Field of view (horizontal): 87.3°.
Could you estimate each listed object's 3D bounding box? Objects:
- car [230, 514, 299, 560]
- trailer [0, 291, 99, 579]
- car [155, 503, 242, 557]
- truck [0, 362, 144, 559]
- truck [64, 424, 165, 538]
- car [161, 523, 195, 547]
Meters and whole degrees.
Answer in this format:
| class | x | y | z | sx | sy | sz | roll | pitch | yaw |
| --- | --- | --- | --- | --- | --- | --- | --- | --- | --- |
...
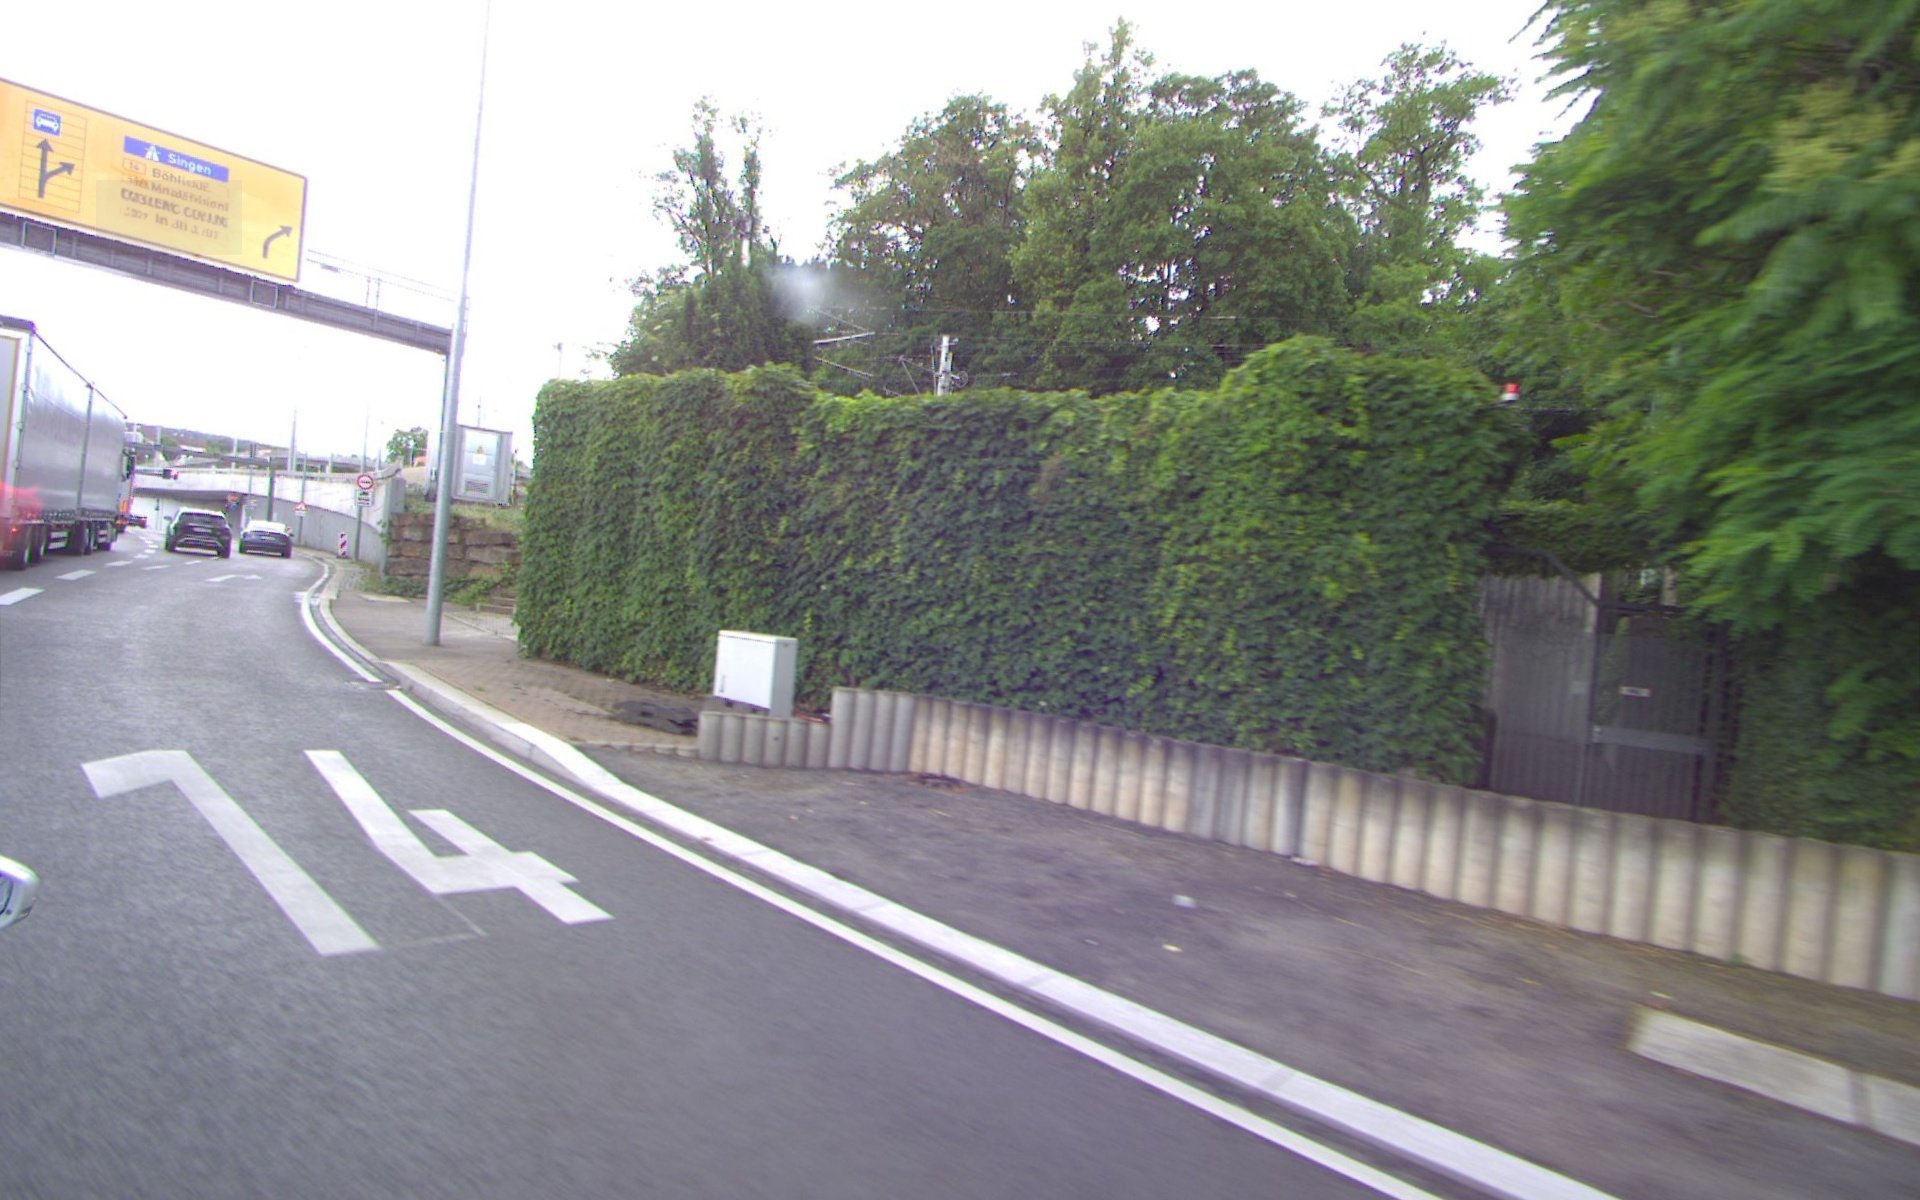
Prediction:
| class | x | y | z | sx | sy | sz | roll | pitch | yaw |
| --- | --- | --- | --- | --- | --- | --- | --- | --- | --- |
| car | -30.171 | -2.747 | 43.618 | 1.886 | 1.645 | 3.954 | 8 | -2 | -41 |
| trailer | -18.657 | -2.917 | 18.101 | 3.705 | 4.191 | 10.873 | 7 | -1 | -37 |
| car | -27.053 | -2.469 | 35.707 | 1.888 | 1.537 | 3.951 | 8 | -3 | -44 |
| truck | -24.930 | -3.571 | 26.966 | 3.704 | 4.191 | 10.877 | 7 | -1 | -36 |
| truck | -43.693 | -5.943 | 51.859 | 3.057 | 4.856 | 9.049 | 10 | -3 | -43 |
| car | -74.307 | -6.164 | 95.655 | 1.980 | 1.870 | 3.967 | 8 | -1 | -32 |
